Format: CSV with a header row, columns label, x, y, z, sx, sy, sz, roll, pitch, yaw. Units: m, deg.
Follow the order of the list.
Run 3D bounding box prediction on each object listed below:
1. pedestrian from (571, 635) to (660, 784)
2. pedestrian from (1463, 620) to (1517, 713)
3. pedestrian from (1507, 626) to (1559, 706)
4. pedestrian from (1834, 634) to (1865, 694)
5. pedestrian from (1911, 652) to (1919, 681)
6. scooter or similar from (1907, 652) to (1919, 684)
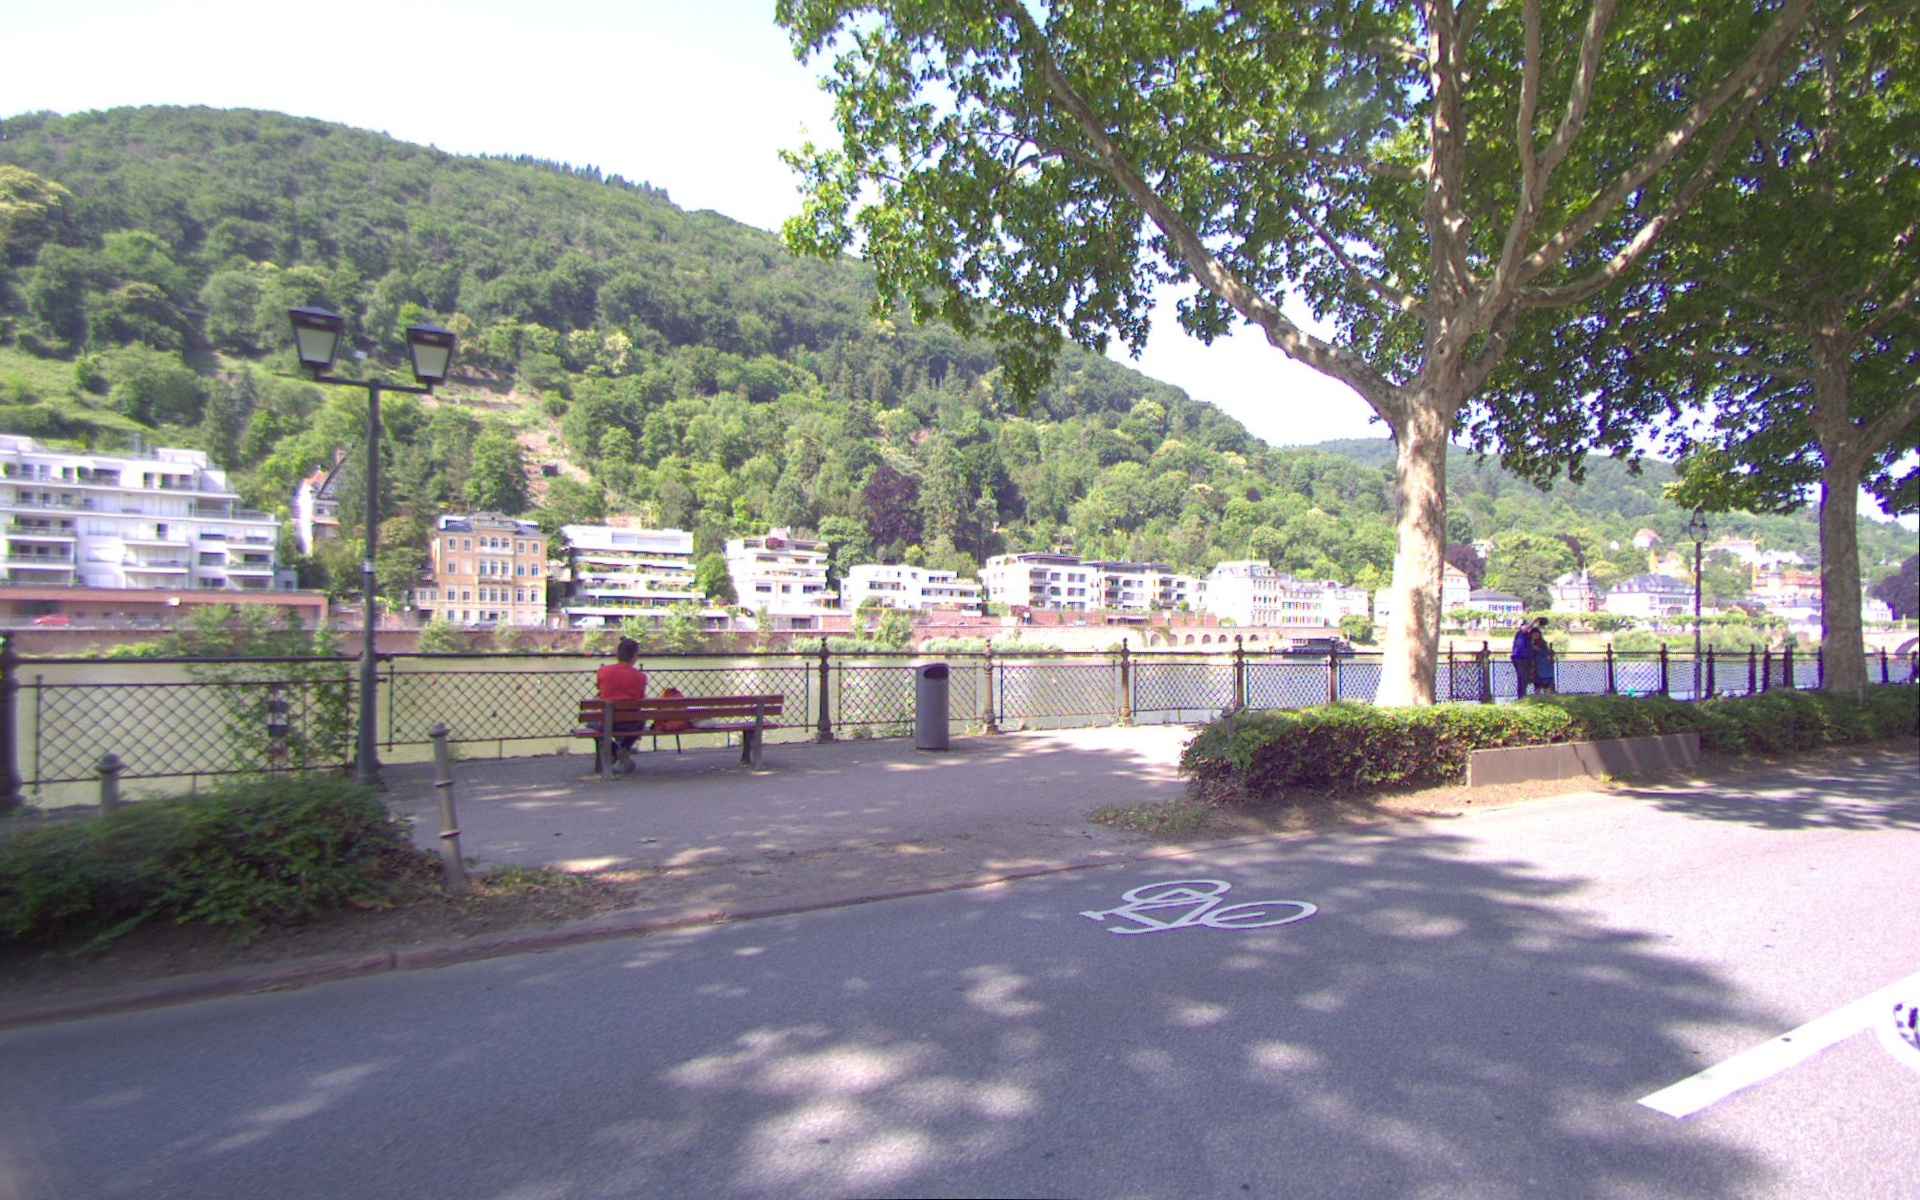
label,x,y,z,sx,sy,sz,roll,pitch,yaw
pedestrian,-3.300,1.014,9.600,0.649,1.325,0.699,2,0,-30
pedestrian,10.651,1.328,20.190,0.696,1.820,0.701,2,-2,-28
pedestrian,11.935,1.368,20.927,0.696,1.624,0.701,2,-2,-28
pedestrian,26.729,1.916,30.184,0.399,1.733,0.581,2,0,-32
pedestrian,30.454,2.096,31.608,0.697,0.895,0.604,1,-1,-31
scooter or similar,30.329,2.153,31.525,1.001,0.981,0.628,2,0,-31
